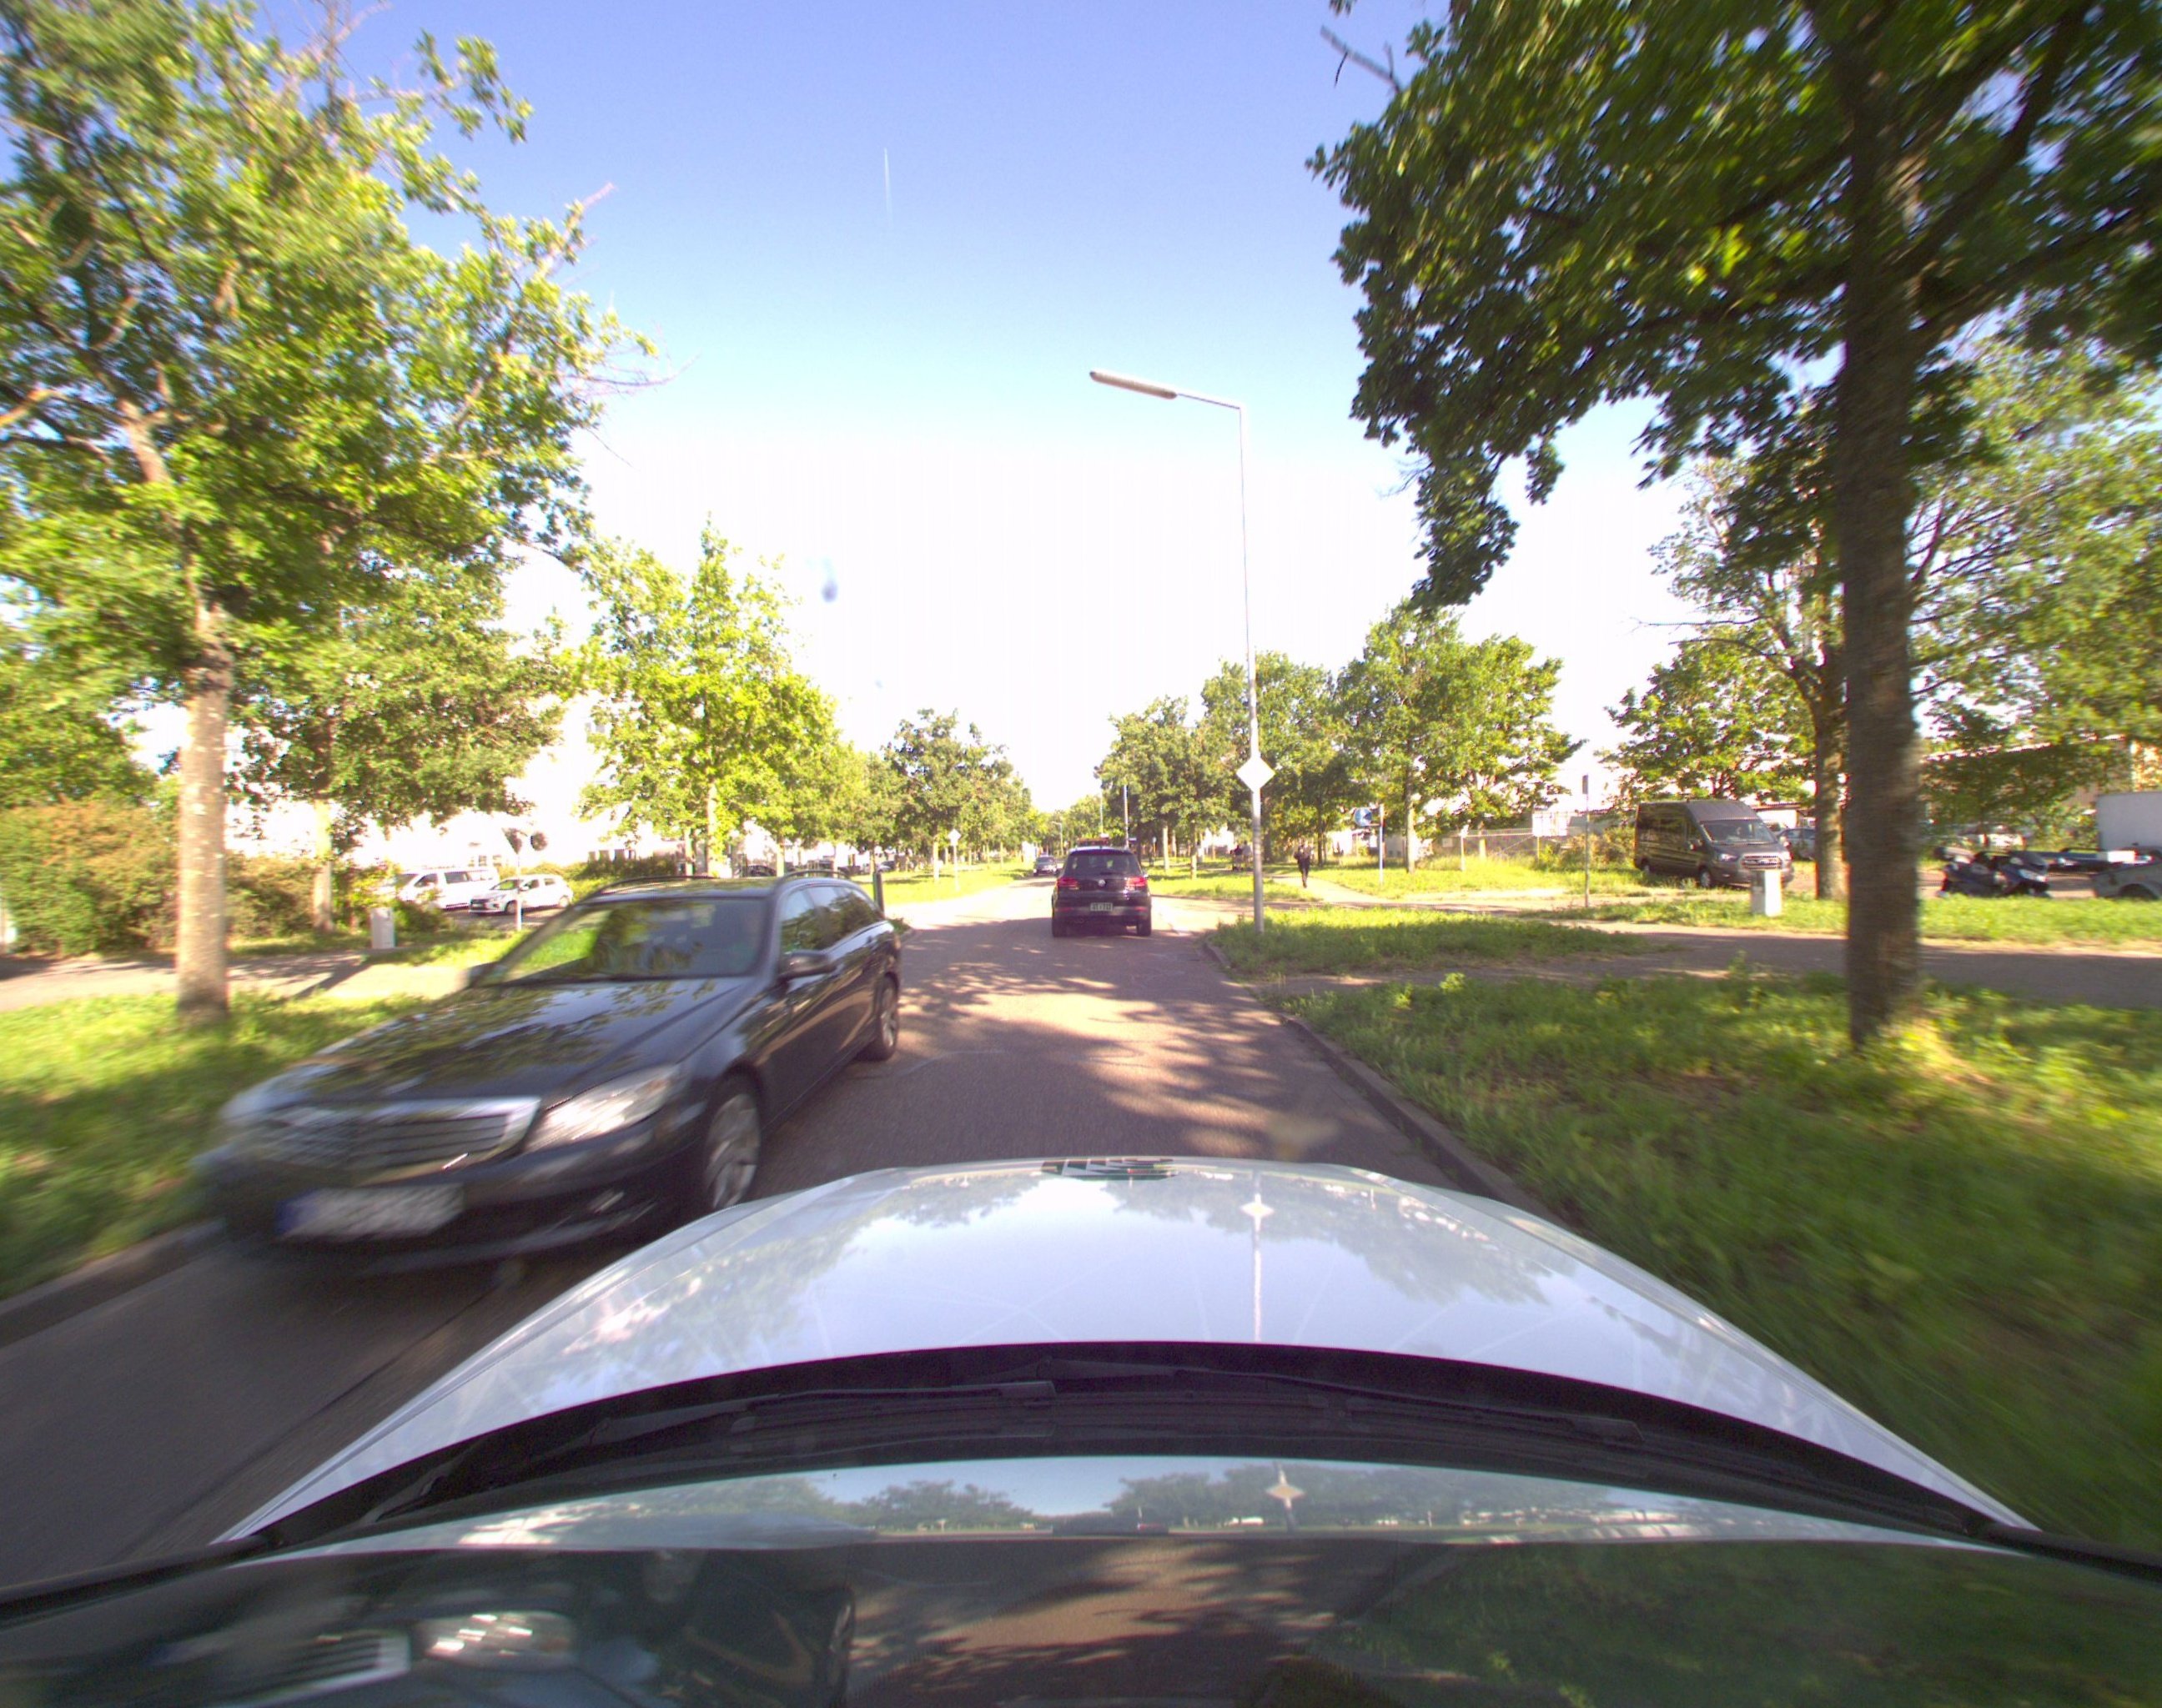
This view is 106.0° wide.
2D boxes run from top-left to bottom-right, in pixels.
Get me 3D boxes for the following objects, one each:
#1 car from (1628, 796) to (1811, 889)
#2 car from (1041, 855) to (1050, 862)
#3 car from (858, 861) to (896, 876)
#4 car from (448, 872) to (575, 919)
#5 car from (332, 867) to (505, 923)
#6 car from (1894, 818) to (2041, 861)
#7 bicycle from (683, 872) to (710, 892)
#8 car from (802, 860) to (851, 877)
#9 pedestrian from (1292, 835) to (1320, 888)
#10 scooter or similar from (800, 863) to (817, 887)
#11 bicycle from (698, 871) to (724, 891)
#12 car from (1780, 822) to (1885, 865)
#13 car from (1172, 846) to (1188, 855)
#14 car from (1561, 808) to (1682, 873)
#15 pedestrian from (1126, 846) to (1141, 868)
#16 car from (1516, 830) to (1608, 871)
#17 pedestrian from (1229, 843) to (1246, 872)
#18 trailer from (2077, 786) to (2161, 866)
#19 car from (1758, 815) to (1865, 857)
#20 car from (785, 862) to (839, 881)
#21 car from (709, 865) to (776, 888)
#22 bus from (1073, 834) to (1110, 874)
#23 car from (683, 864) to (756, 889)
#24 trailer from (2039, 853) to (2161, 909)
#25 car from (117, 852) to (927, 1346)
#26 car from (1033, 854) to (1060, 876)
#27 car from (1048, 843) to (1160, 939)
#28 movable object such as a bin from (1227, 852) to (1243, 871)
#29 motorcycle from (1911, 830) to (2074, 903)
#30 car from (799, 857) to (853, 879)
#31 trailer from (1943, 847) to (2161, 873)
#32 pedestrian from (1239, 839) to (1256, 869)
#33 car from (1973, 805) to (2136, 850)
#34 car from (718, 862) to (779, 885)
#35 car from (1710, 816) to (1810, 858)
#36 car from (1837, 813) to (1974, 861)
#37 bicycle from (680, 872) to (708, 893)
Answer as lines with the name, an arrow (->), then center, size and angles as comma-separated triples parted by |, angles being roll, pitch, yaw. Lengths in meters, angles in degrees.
car -> 19.683, -0.461, 25.562 | 2.070, 2.565, 5.993 | 0, 3, 12
car -> -7.647, 0.911, 176.258 | 1.739, 1.465, 4.426 | -3, 0, -1
car -> -24.071, 1.683, 96.163 | 3.715, 1.618, 1.971 | -2, 0, 14
car -> -23.428, 1.678, 33.722 | 1.980, 1.504, 3.931 | -2, 2, 12
car -> -28.277, 1.669, 35.077 | 2.285, 1.816, 5.460 | -2, 2, 12
car -> 36.513, -0.592, 33.712 | 1.982, 1.592, 4.009 | -2, 0, 8
bicycle -> -22.378, 1.603, 47.391 | 0.637, 1.087, 1.891 | -2, 0, 0
car -> -30.543, 1.690, 97.769 | 5.265, 1.817, 2.153 | -2, 0, 14
pedestrian -> 8.070, 0.254, 29.233 | 0.723, 1.812, 0.867 | -2, 2, 0
scooter or similar -> -15.045, 1.155, 44.970 | 0.393, 1.279, 1.441 | -2, 0, 1
bicycle -> -21.387, 1.566, 47.094 | 0.637, 1.087, 1.891 | -2, 0, 0
car -> 31.141, -0.437, 33.897 | 1.819, 1.640, 4.021 | -2, 0, 21
car -> 19.858, -0.628, 163.060 | 2.181, 1.744, 4.633 | -2, 0, -5
car -> 24.054, -0.565, 36.507 | 2.153, 2.643, 4.851 | -2, 0, 0
pedestrian -> 4.012, 0.253, 62.370 | 1.016, 1.651, 1.099 | -2, 0, 0
car -> 21.478, -0.156, 36.523 | 1.999, 1.664, 3.597 | -2, 0, 0
pedestrian -> 9.050, 0.196, 47.135 | 0.723, 1.603, 0.867 | -2, 0, 0
trailer -> 32.227, -0.851, 23.688 | 2.174, 2.307, 3.803 | -2, 0, 12
car -> 39.164, -1.032, 43.870 | 2.070, 2.061, 5.031 | 0, 3, 12
car -> -23.231, 1.509, 70.319 | 3.975, 1.401, 1.976 | -2, 0, -42
car -> -24.095, 1.608, 58.091 | 4.022, 1.448, 1.779 | -2, 0, -43
bus -> 0.889, -0.003, 78.882 | 2.758, 3.456, 11.198 | -2, 0, -3
car -> -24.143, 1.508, 54.448 | 1.778, 1.448, 4.025 | -2, 0, 42
trailer -> 17.633, 0.450, 13.332 | 1.568, 0.868, 2.061 | -2, -4, 12
car -> -2.298, 0.816, 4.990 | 1.760, 1.528, 4.495 | -3, 0, 0
car -> -2.670, 0.856, 64.017 | 1.799, 1.536, 4.495 | -3, 0, 0
car -> 0.405, 0.627, 16.349 | 1.930, 1.656, 4.426 | -1, 0, 0
movable object such as a bin -> 9.073, 0.439, 47.975 | 0.723, 1.081, 0.867 | -4, 0, 0
motorcycle -> 16.948, 0.282, 15.258 | 0.658, 1.231, 2.413 | -2, -4, 12
car -> -26.551, 1.432, 84.930 | 4.885, 2.013, 1.976 | -2, 0, -42
trailer -> 29.480, 0.151, 24.809 | 2.211, 0.651, 4.842 | -2, 0, 15
pedestrian -> 9.885, -0.010, 48.277 | 0.723, 1.755, 0.867 | -4, 0, 0
car -> 38.688, -0.997, 32.527 | 1.982, 1.592, 4.009 | -2, 0, 8
car -> -24.864, 1.406, 60.839 | 4.011, 1.511, 1.784 | -2, 1, -29
car -> 36.794, -0.979, 44.359 | 2.070, 2.061, 5.031 | 0, 3, 12
car -> 34.278, -0.693, 34.028 | 1.982, 1.823, 4.009 | -2, 0, 8
bicycle -> -21.703, 1.578, 45.684 | 0.637, 1.087, 1.891 | -2, 0, 0
